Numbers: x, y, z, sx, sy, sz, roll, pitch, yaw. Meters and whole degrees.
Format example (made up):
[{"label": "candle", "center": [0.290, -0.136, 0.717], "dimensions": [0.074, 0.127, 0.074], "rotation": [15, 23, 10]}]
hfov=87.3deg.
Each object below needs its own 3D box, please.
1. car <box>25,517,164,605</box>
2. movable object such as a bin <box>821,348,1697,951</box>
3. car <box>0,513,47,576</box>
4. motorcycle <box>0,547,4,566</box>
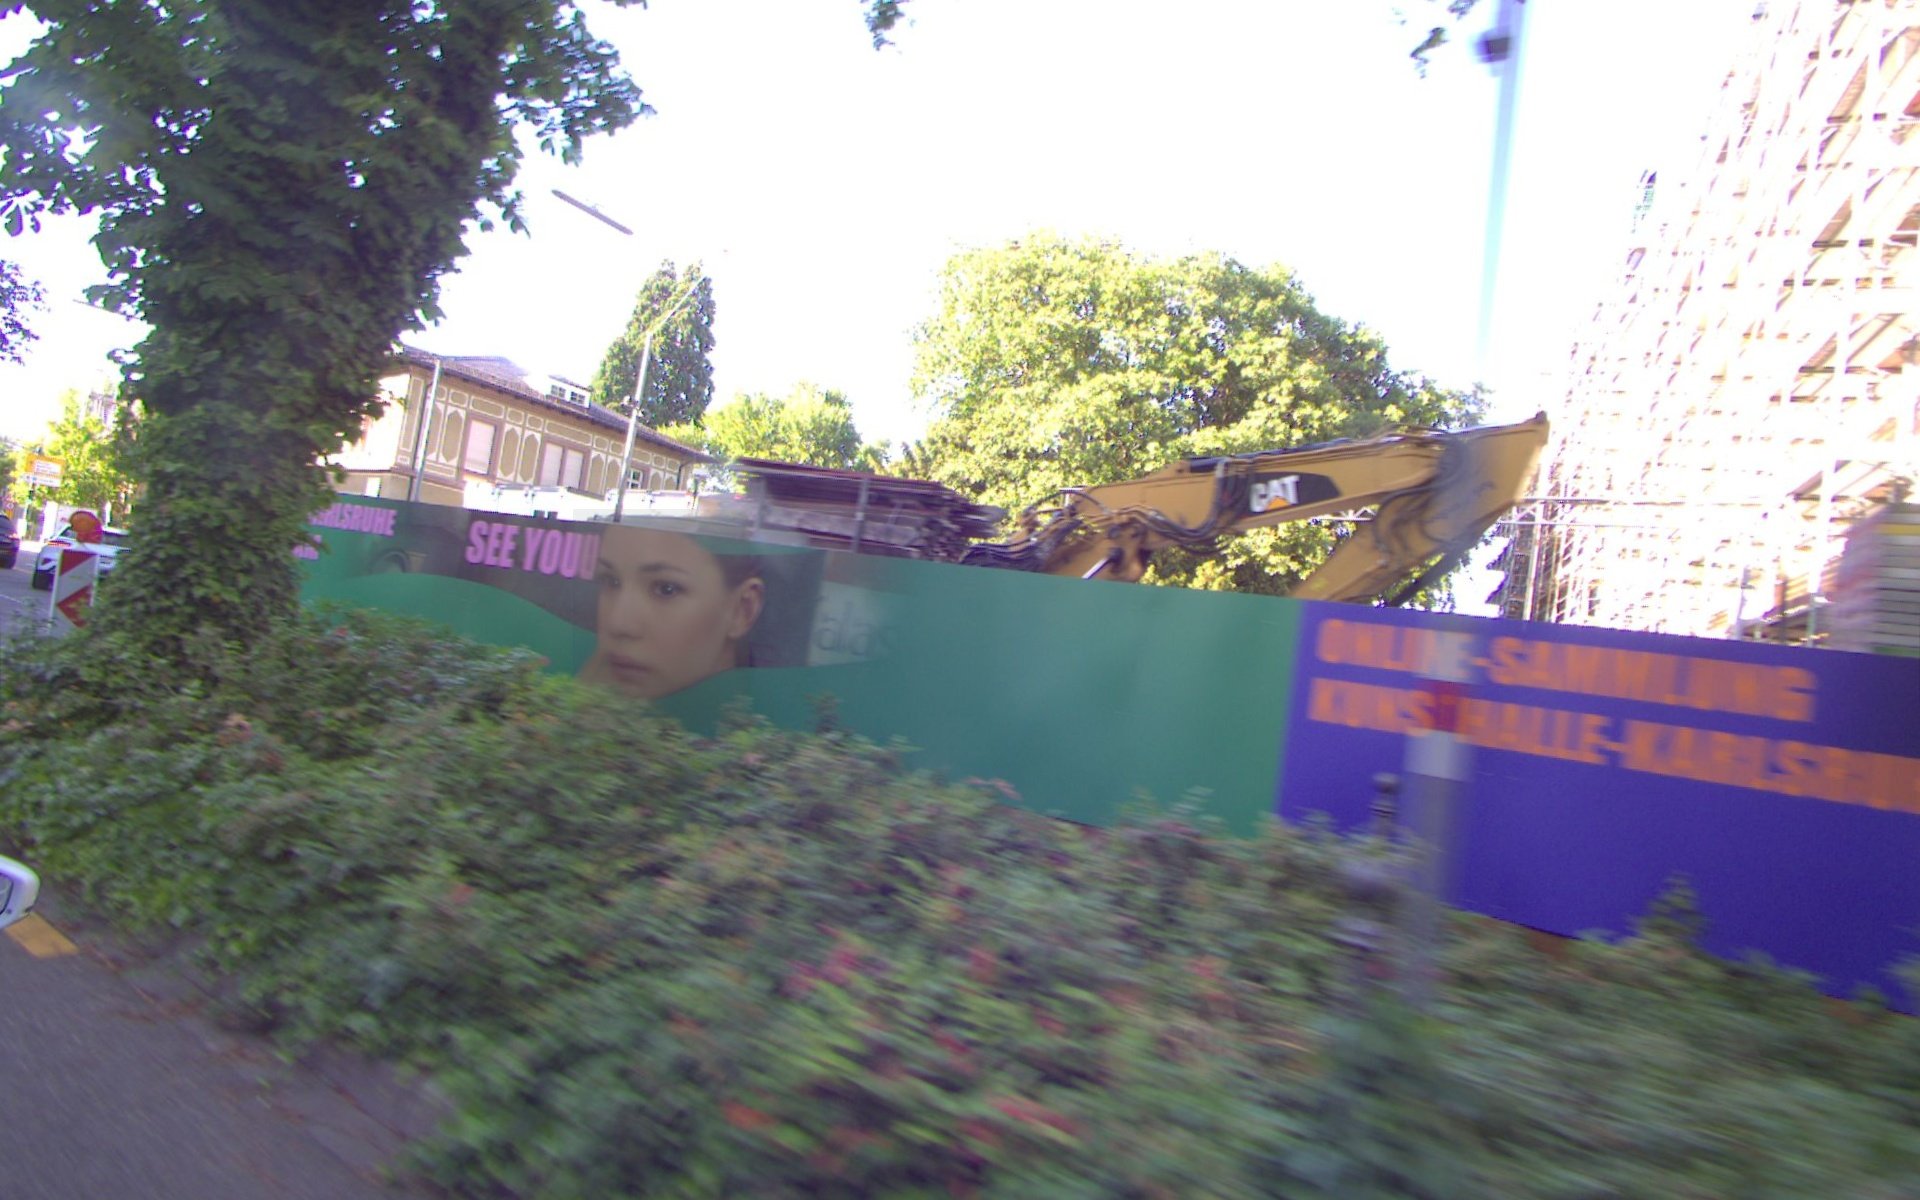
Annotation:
[{"label": "car", "center": [-18.705, -0.881, 21.910], "dimensions": [1.842, 1.497, 4.017], "rotation": [9, -2, -36]}, {"label": "movable object such as a bin", "center": [2.831, 0.161, 11.051], "dimensions": [7.774, 4.590, 3.315], "rotation": [7, -2, 32]}, {"label": "car", "center": [-26.386, -1.691, 26.968], "dimensions": [3.994, 1.478, 1.844], "rotation": [6, -5, 35]}, {"label": "motorcycle", "center": [-10.599, -0.113, 10.128], "dimensions": [0.790, 1.077, 1.715], "rotation": [11, -4, -26]}]
